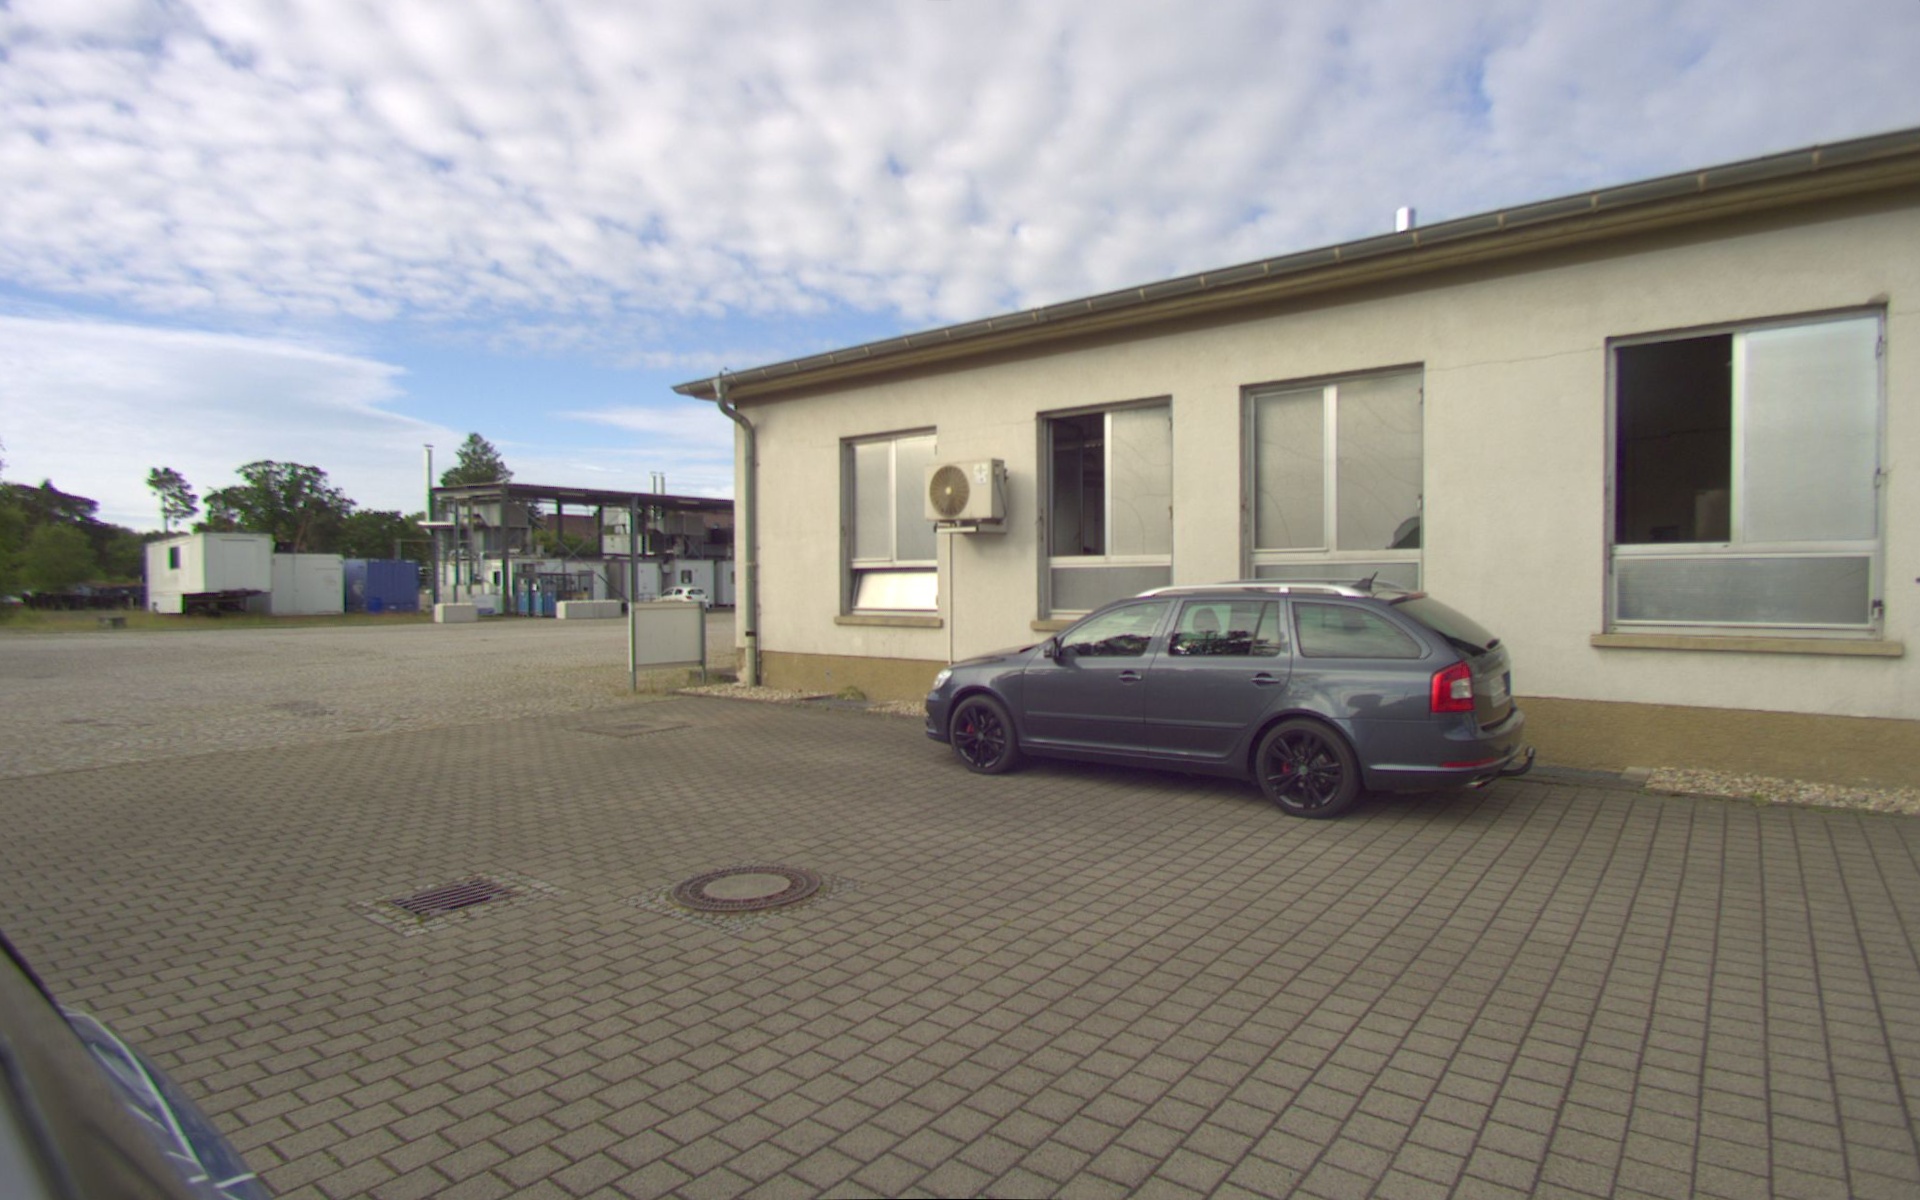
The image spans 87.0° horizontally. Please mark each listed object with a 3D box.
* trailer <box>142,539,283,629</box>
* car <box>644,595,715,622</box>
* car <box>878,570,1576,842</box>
[{"bbox_3d":[-34.109,-0.638,45.964,10.771,3.690,2.839,0,0,41],"label":"trailer"},{"bbox_3d":[-16.277,0.482,58.598,3.992,1.484,1.911,0,-1,36],"label":"car"},{"bbox_3d":[1.795,0.581,7.719,4.803,1.472,1.907,0,0,38],"label":"car"}]
